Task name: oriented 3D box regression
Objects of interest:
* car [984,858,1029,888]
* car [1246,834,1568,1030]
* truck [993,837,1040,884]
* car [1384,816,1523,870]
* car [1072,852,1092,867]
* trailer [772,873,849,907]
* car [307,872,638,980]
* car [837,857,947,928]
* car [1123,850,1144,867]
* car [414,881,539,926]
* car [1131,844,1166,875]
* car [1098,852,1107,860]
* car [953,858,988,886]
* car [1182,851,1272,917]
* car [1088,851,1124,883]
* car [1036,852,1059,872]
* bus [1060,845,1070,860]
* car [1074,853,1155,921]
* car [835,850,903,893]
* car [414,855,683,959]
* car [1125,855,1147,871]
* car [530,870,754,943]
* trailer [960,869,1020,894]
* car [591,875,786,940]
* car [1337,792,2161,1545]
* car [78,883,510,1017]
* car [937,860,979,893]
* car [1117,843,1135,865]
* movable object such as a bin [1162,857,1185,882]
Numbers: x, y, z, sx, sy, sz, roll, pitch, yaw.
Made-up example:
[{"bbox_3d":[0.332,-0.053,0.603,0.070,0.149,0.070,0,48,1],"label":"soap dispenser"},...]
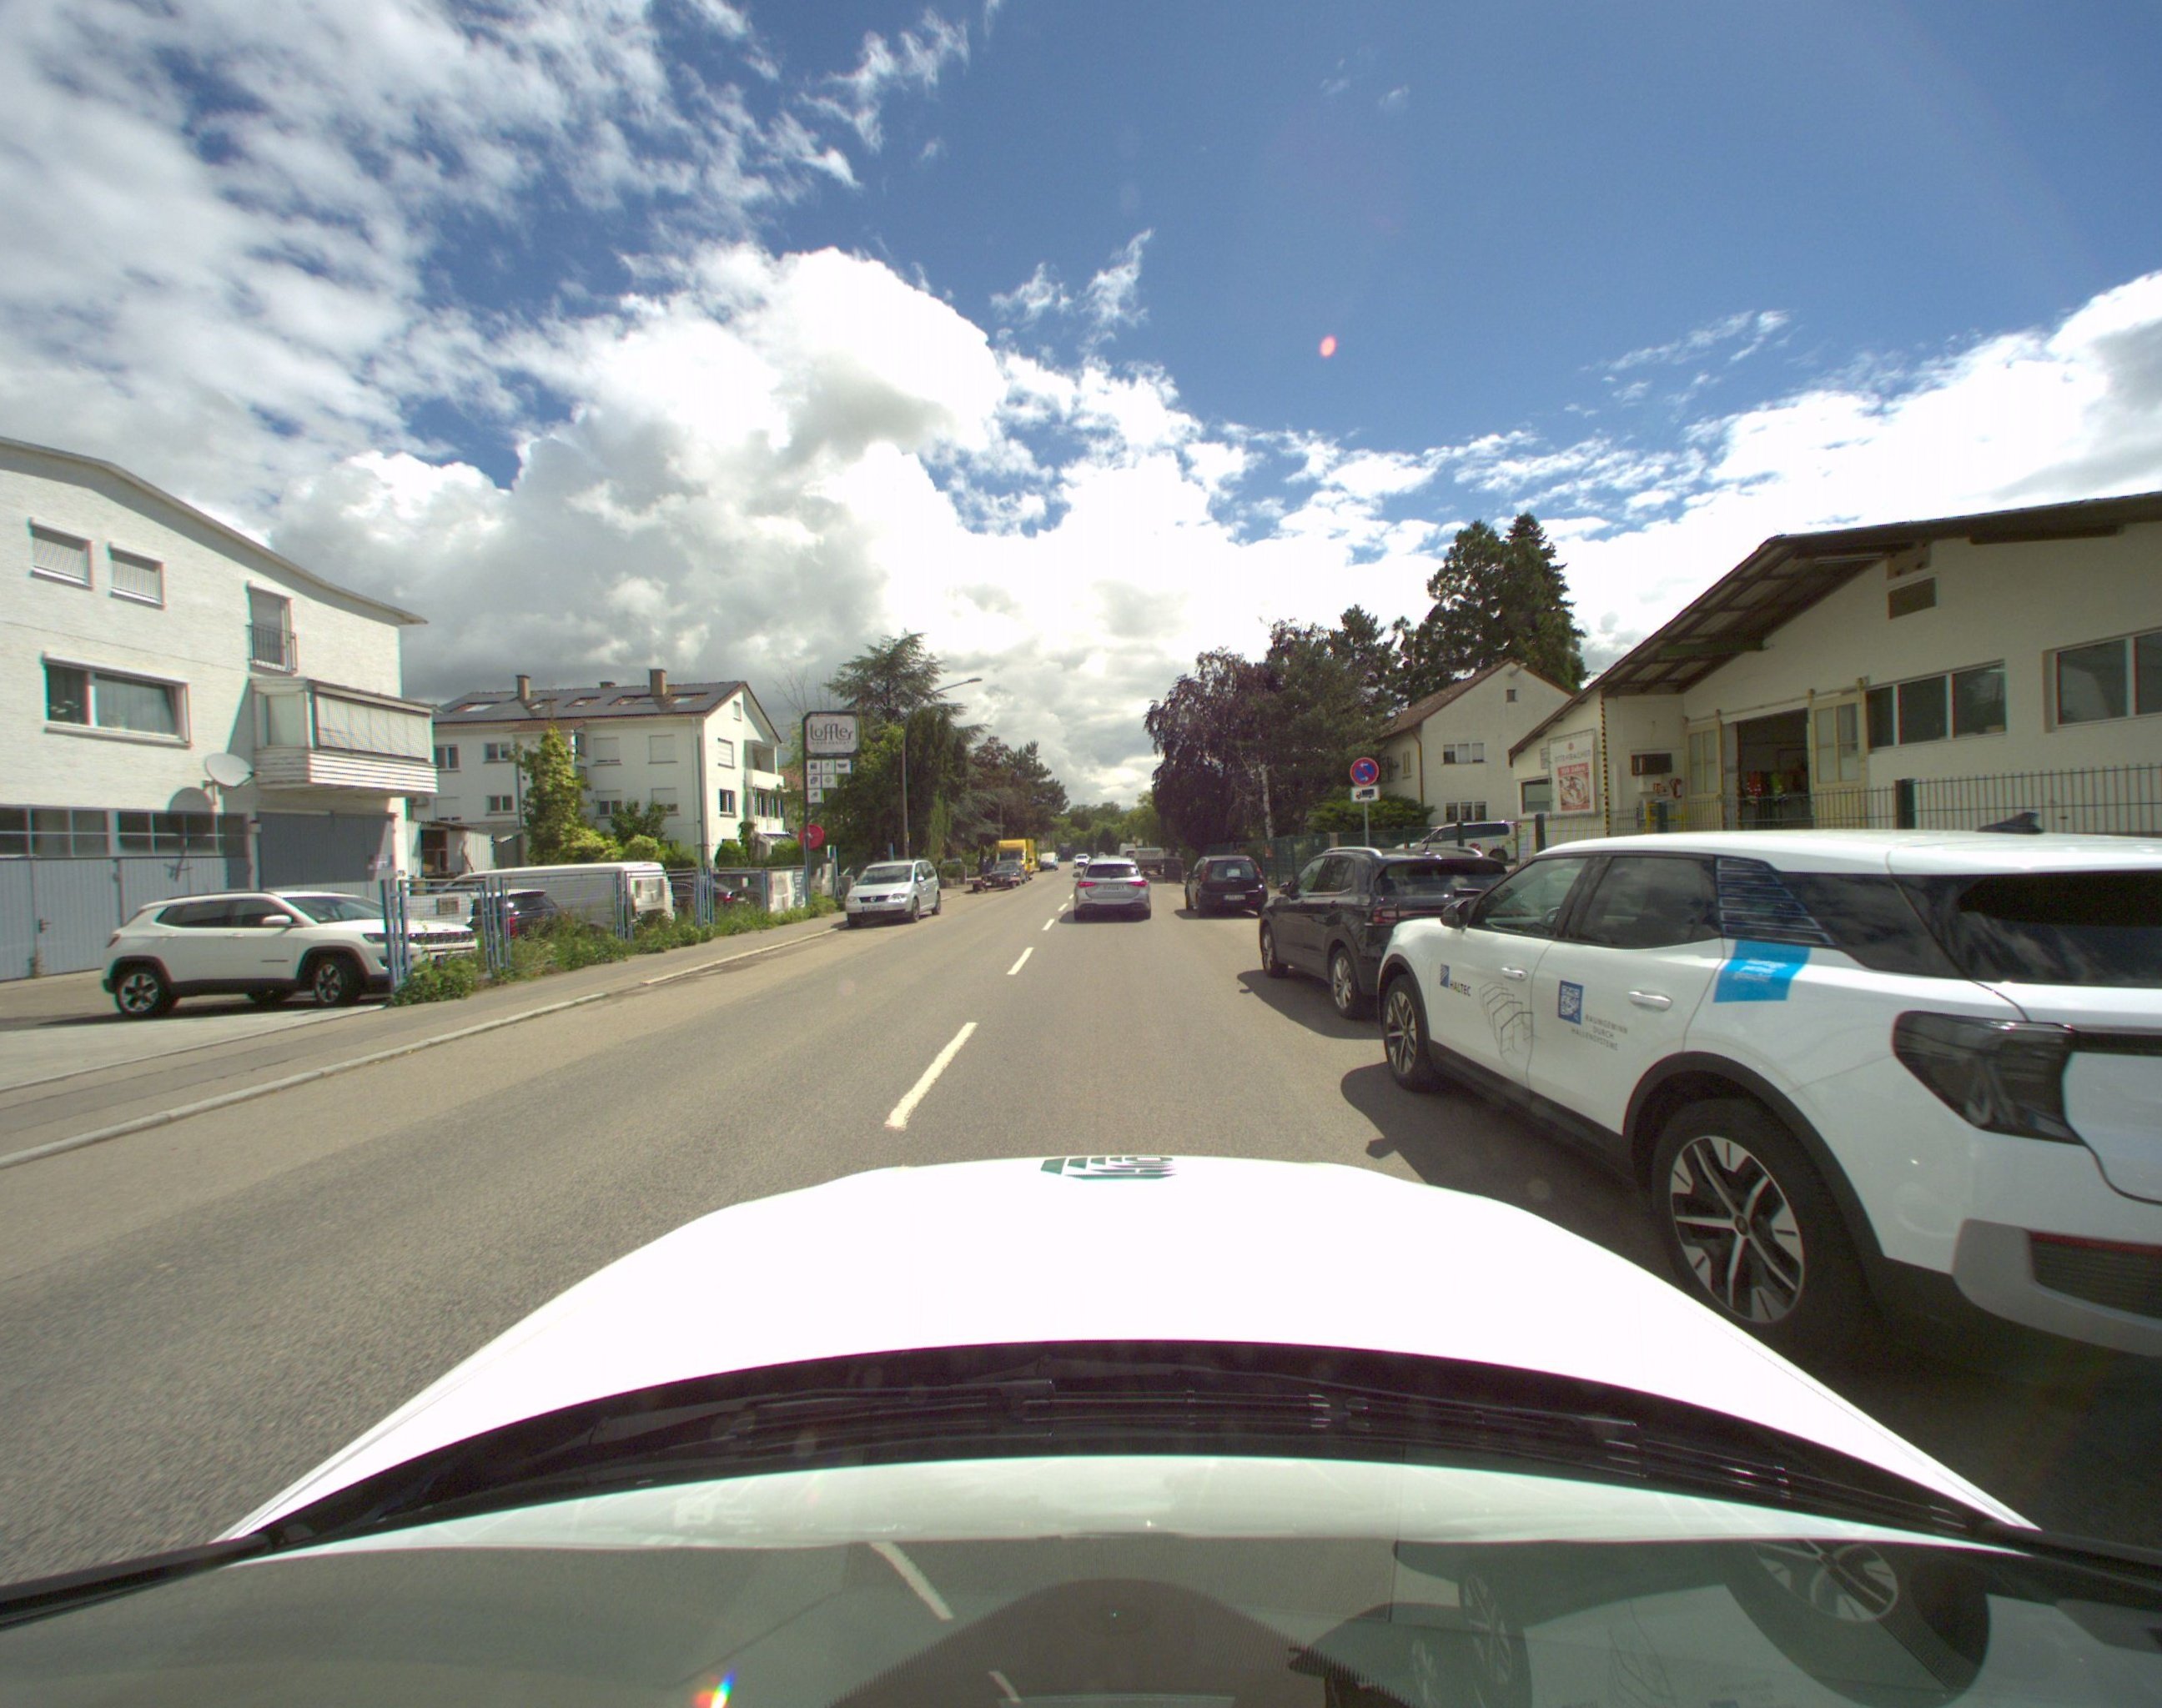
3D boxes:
[{"bbox_3d":[-4.220,1.039,46.640,2.068,1.478,4.457,-3,0,0],"label":"car"},{"bbox_3d":[3.141,0.653,8.833,1.685,1.552,4.082,-3,0,-2],"label":"car"},{"bbox_3d":[-4.230,0.395,54.556,2.066,2.814,7.083,-3,0,3],"label":"truck"},{"bbox_3d":[16.025,-0.456,35.219,4.994,1.929,2.003,-4,0,4],"label":"car"},{"bbox_3d":[0.135,0.587,89.650,1.927,1.492,4.365,-3,0,1],"label":"car"},{"bbox_3d":[-11.638,1.521,35.402,1.853,1.181,4.375,-3,0,0],"label":"trailer"},{"bbox_3d":[-10.486,1.229,14.303,4.265,1.567,1.991,-2,-3,0],"label":"car"},{"bbox_3d":[-5.002,0.960,22.162,1.785,1.603,4.365,-3,0,1],"label":"car"},{"bbox_3d":[5.281,0.462,82.790,1.779,1.715,4.315,-1,-1,0],"label":"car"},{"bbox_3d":[-25.552,2.039,34.641,1.987,1.544,4.375,-3,0,0],"label":"car"},{"bbox_3d":[4.680,0.369,57.226,2.136,1.984,5.263,-3,0,2],"label":"car"},{"bbox_3d":[4.664,0.475,175.971,1.751,1.558,3.997,-2,0,-2],"label":"car"},{"bbox_3d":[-8.270,1.308,61.491,1.986,2.013,4.001,0,0,2],"label":"car"},{"bbox_3d":[3.611,0.693,20.788,1.683,1.450,3.850,-3,0,2],"label":"car"},{"bbox_3d":[1.269,0.636,42.923,1.750,1.558,4.000,-2,0,0],"label":"car"},{"bbox_3d":[-3.398,0.813,83.882,1.927,1.918,4.365,-3,0,1],"label":"car"},{"bbox_3d":[-3.542,-0.365,181.854,1.989,3.364,6.973,0,0,-3],"label":"bus"},{"bbox_3d":[0.738,0.752,20.353,1.779,1.484,4.315,-1,-1,0],"label":"car"},{"bbox_3d":[-9.130,0.710,35.438,1.989,1.657,3.997,-3,0,-2],"label":"car"},{"bbox_3d":[-10.928,1.093,16.966,4.265,1.836,1.991,-2,-3,0],"label":"car"},{"bbox_3d":[5.226,0.833,77.456,1.779,1.484,4.315,-1,-1,0],"label":"car"},{"bbox_3d":[-10.458,1.255,19.635,4.265,1.485,1.991,-2,-3,0],"label":"car"},{"bbox_3d":[-4.330,1.284,39.848,2.221,0.925,5.948,-2,0,0],"label":"trailer"},{"bbox_3d":[-10.460,1.440,21.943,4.265,1.485,1.991,-2,-3,0],"label":"car"},{"bbox_3d":[2.866,0.609,3.989,1.785,1.552,4.574,-3,0,1],"label":"car"},{"bbox_3d":[-11.033,1.319,11.697,4.263,1.567,1.991,-3,-3,1],"label":"car"},{"bbox_3d":[-7.753,1.378,51.767,1.986,2.013,4.001,0,0,1],"label":"car"},{"bbox_3d":[5.261,0.042,94.882,1.779,2.518,4.315,-1,-1,0],"label":"car"},{"bbox_3d":[4.726,0.772,41.763,1.080,1.271,1.380,0,0,2],"label":"movable object such as a bin"}]
